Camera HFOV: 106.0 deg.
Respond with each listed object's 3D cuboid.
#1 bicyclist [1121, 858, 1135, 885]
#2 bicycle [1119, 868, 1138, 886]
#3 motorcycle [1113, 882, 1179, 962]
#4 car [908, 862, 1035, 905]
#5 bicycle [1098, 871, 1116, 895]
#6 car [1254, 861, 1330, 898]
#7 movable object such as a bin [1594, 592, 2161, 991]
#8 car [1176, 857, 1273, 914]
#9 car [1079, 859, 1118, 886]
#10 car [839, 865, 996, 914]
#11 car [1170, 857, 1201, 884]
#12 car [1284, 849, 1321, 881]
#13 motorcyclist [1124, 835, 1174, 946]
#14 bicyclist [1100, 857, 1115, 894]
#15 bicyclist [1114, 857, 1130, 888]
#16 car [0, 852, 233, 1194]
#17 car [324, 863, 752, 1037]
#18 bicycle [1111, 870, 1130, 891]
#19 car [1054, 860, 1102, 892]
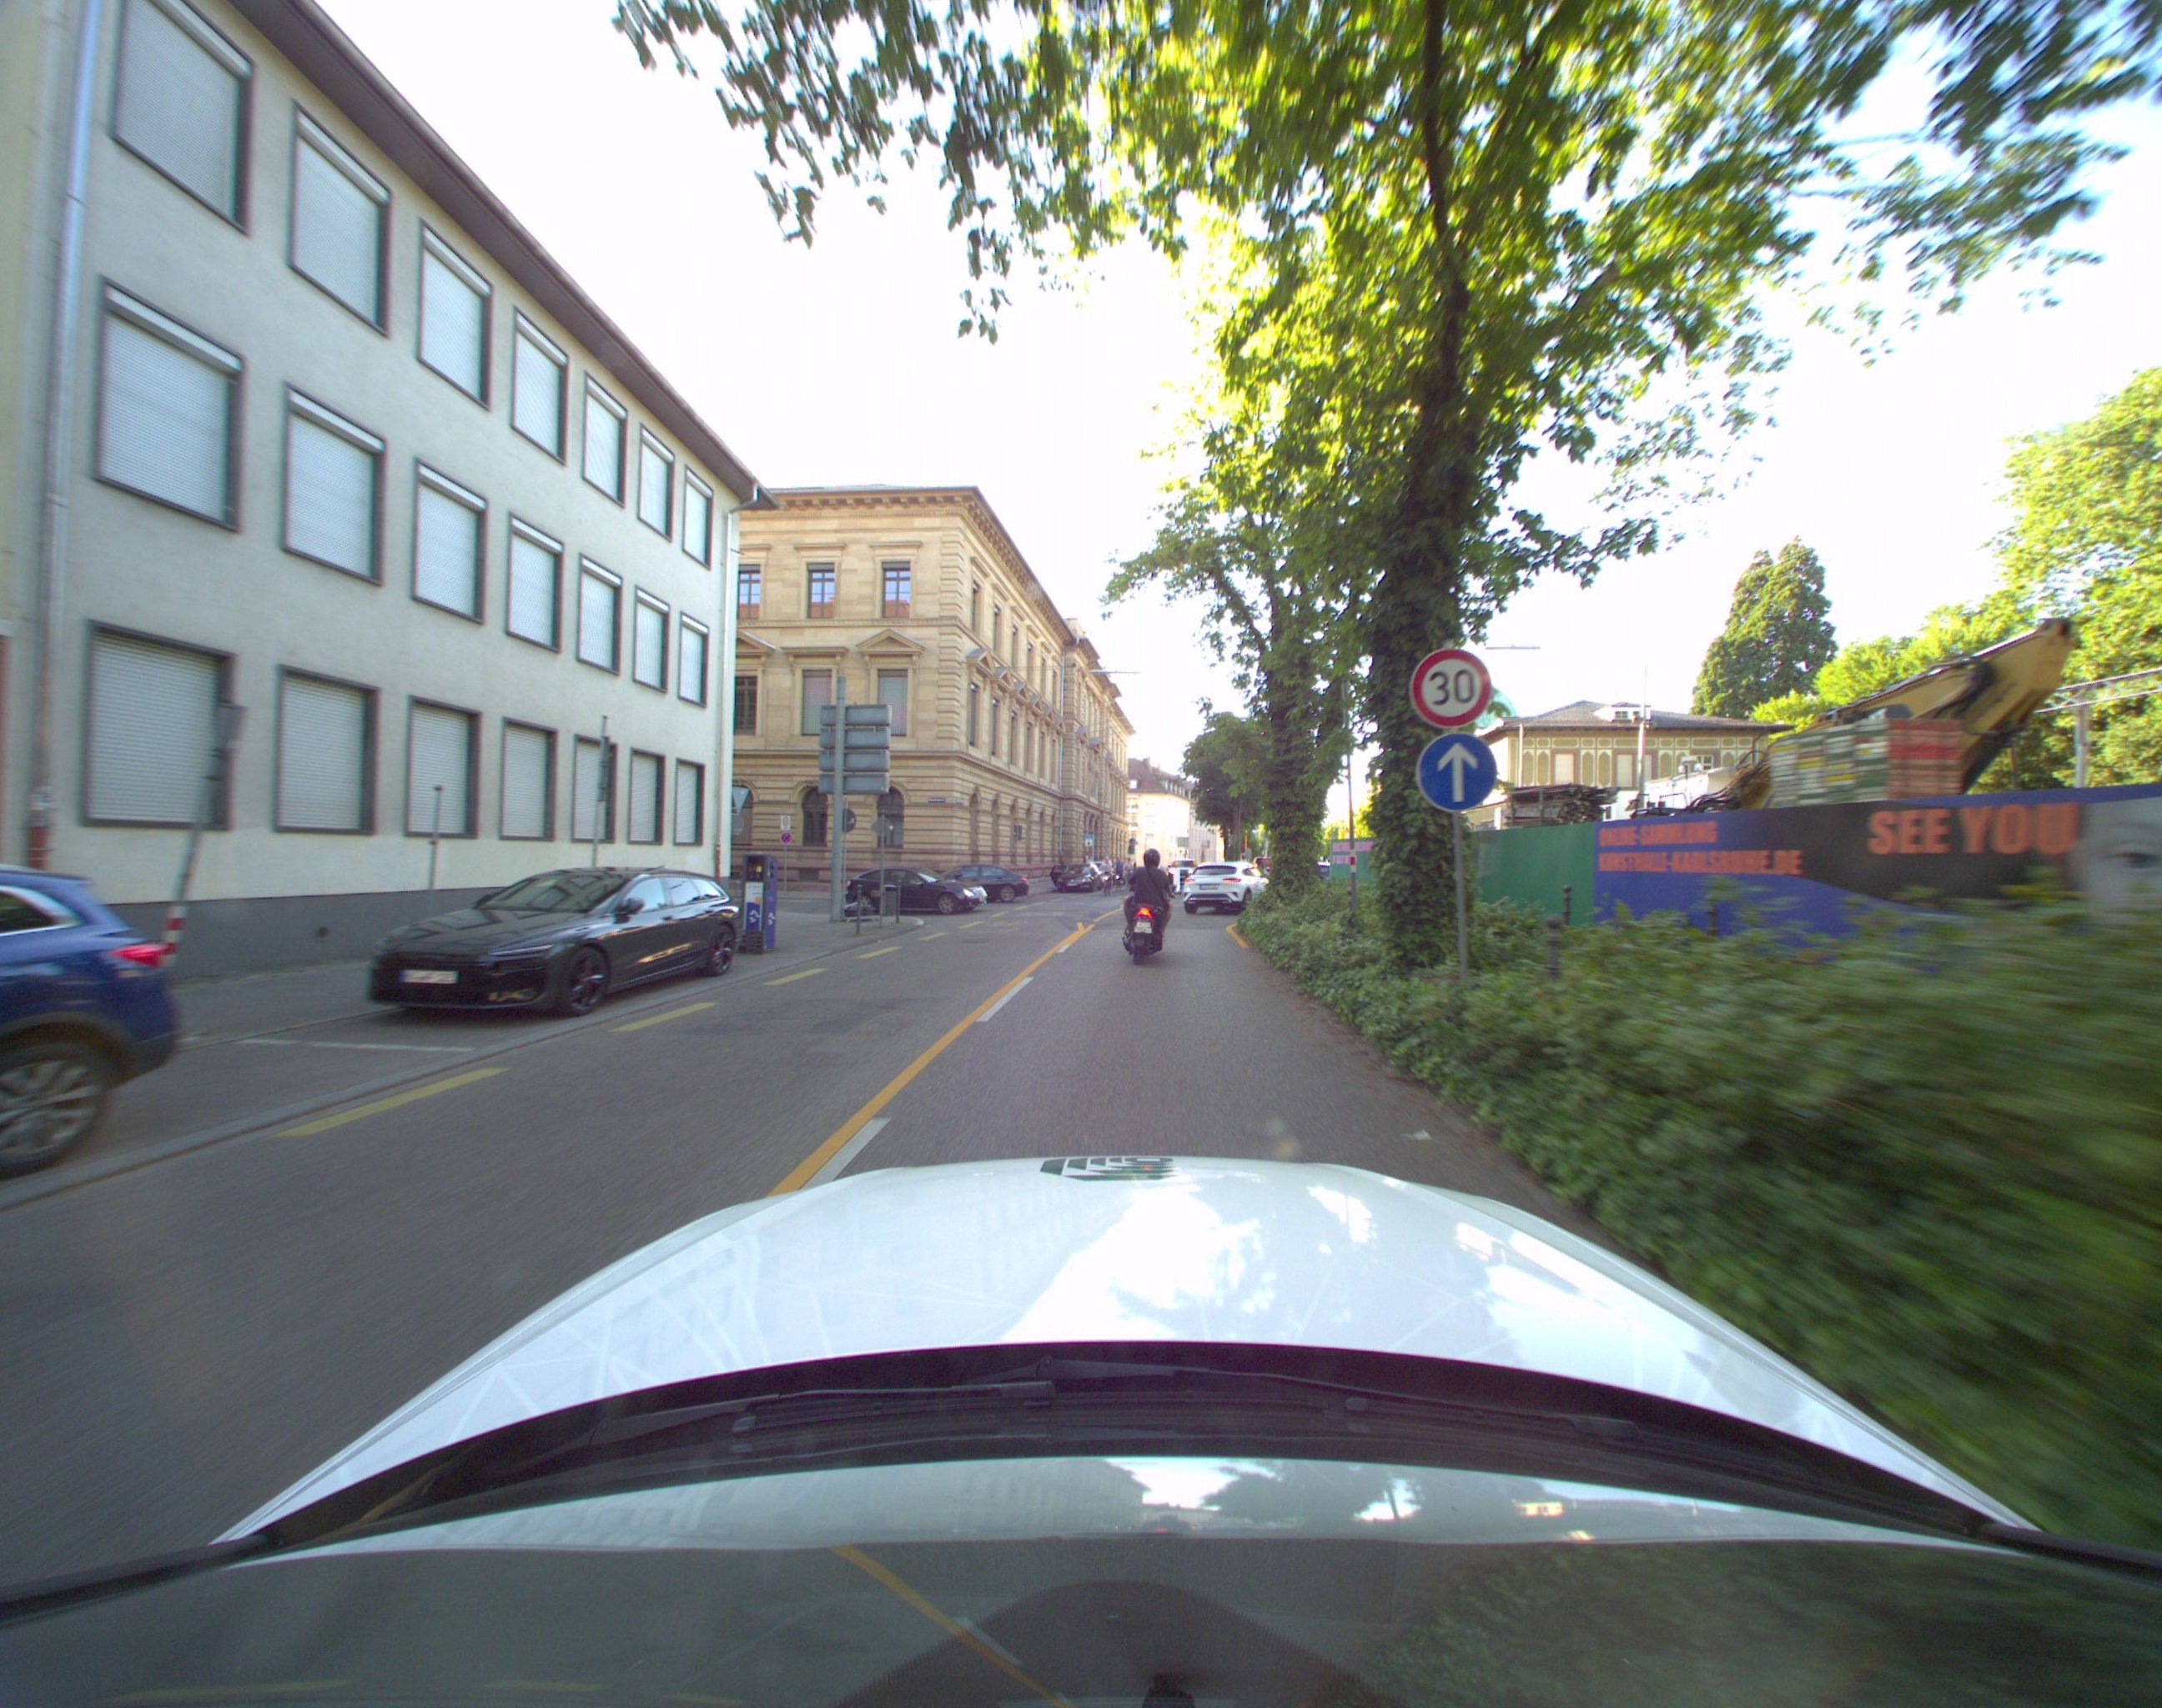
[{"bbox_3d":[2.793,1.048,48.654,0.623,1.554,0.736,0,-1,22],"label":"bicyclist"},{"bbox_3d":[2.848,1.368,48.675,0.528,1.035,2.046,0,0,22],"label":"bicycle"},{"bbox_3d":[1.040,1.007,12.575,0.791,1.066,1.730,2,0,11],"label":"motorcycle"},{"bbox_3d":[-4.051,1.059,29.916,4.462,1.461,1.767,0,0,-15],"label":"car"},{"bbox_3d":[1.204,1.310,37.201,0.579,1.035,2.133,0,0,8],"label":"bicycle"},{"bbox_3d":[9.183,1.074,35.267,1.822,1.463,4.083,1,0,35],"label":"car"},{"bbox_3d":[12.220,-0.703,13.241,3.292,4.539,7.914,0,0,4],"label":"movable object such as a bin"},{"bbox_3d":[4.303,0.865,23.901,1.834,1.480,4.080,-1,0,24],"label":"car"},{"bbox_3d":[1.077,1.075,49.042,1.983,1.528,4.191,0,0,6],"label":"car"},{"bbox_3d":[-4.928,1.058,24.793,4.285,1.390,1.781,0,0,11],"label":"car"},{"bbox_3d":[6.921,1.068,54.164,1.983,1.695,4.406,0,0,6],"label":"car"},{"bbox_3d":[14.016,0.698,51.668,1.829,1.912,4.068,2,0,9],"label":"car"},{"bbox_3d":[1.058,0.553,12.611,0.653,1.650,0.653,2,-1,11],"label":"motorcyclist"},{"bbox_3d":[1.211,0.958,37.241,0.563,1.667,0.836,0,-1,8],"label":"bicyclist"},{"bbox_3d":[2.150,0.954,42.619,0.623,1.613,0.873,0,-1,16],"label":"bicyclist"},{"bbox_3d":[-6.267,0.819,2.847,1.926,1.667,4.349,0,0,2],"label":"car"},{"bbox_3d":[-5.978,0.913,9.895,1.817,1.503,4.762,2,0,2],"label":"car"},{"bbox_3d":[2.082,1.362,42.570,0.529,1.035,1.915,0,0,16],"label":"bicycle"},{"bbox_3d":[-0.110,1.089,41.729,1.983,1.567,4.296,0,0,6],"label":"car"}]
